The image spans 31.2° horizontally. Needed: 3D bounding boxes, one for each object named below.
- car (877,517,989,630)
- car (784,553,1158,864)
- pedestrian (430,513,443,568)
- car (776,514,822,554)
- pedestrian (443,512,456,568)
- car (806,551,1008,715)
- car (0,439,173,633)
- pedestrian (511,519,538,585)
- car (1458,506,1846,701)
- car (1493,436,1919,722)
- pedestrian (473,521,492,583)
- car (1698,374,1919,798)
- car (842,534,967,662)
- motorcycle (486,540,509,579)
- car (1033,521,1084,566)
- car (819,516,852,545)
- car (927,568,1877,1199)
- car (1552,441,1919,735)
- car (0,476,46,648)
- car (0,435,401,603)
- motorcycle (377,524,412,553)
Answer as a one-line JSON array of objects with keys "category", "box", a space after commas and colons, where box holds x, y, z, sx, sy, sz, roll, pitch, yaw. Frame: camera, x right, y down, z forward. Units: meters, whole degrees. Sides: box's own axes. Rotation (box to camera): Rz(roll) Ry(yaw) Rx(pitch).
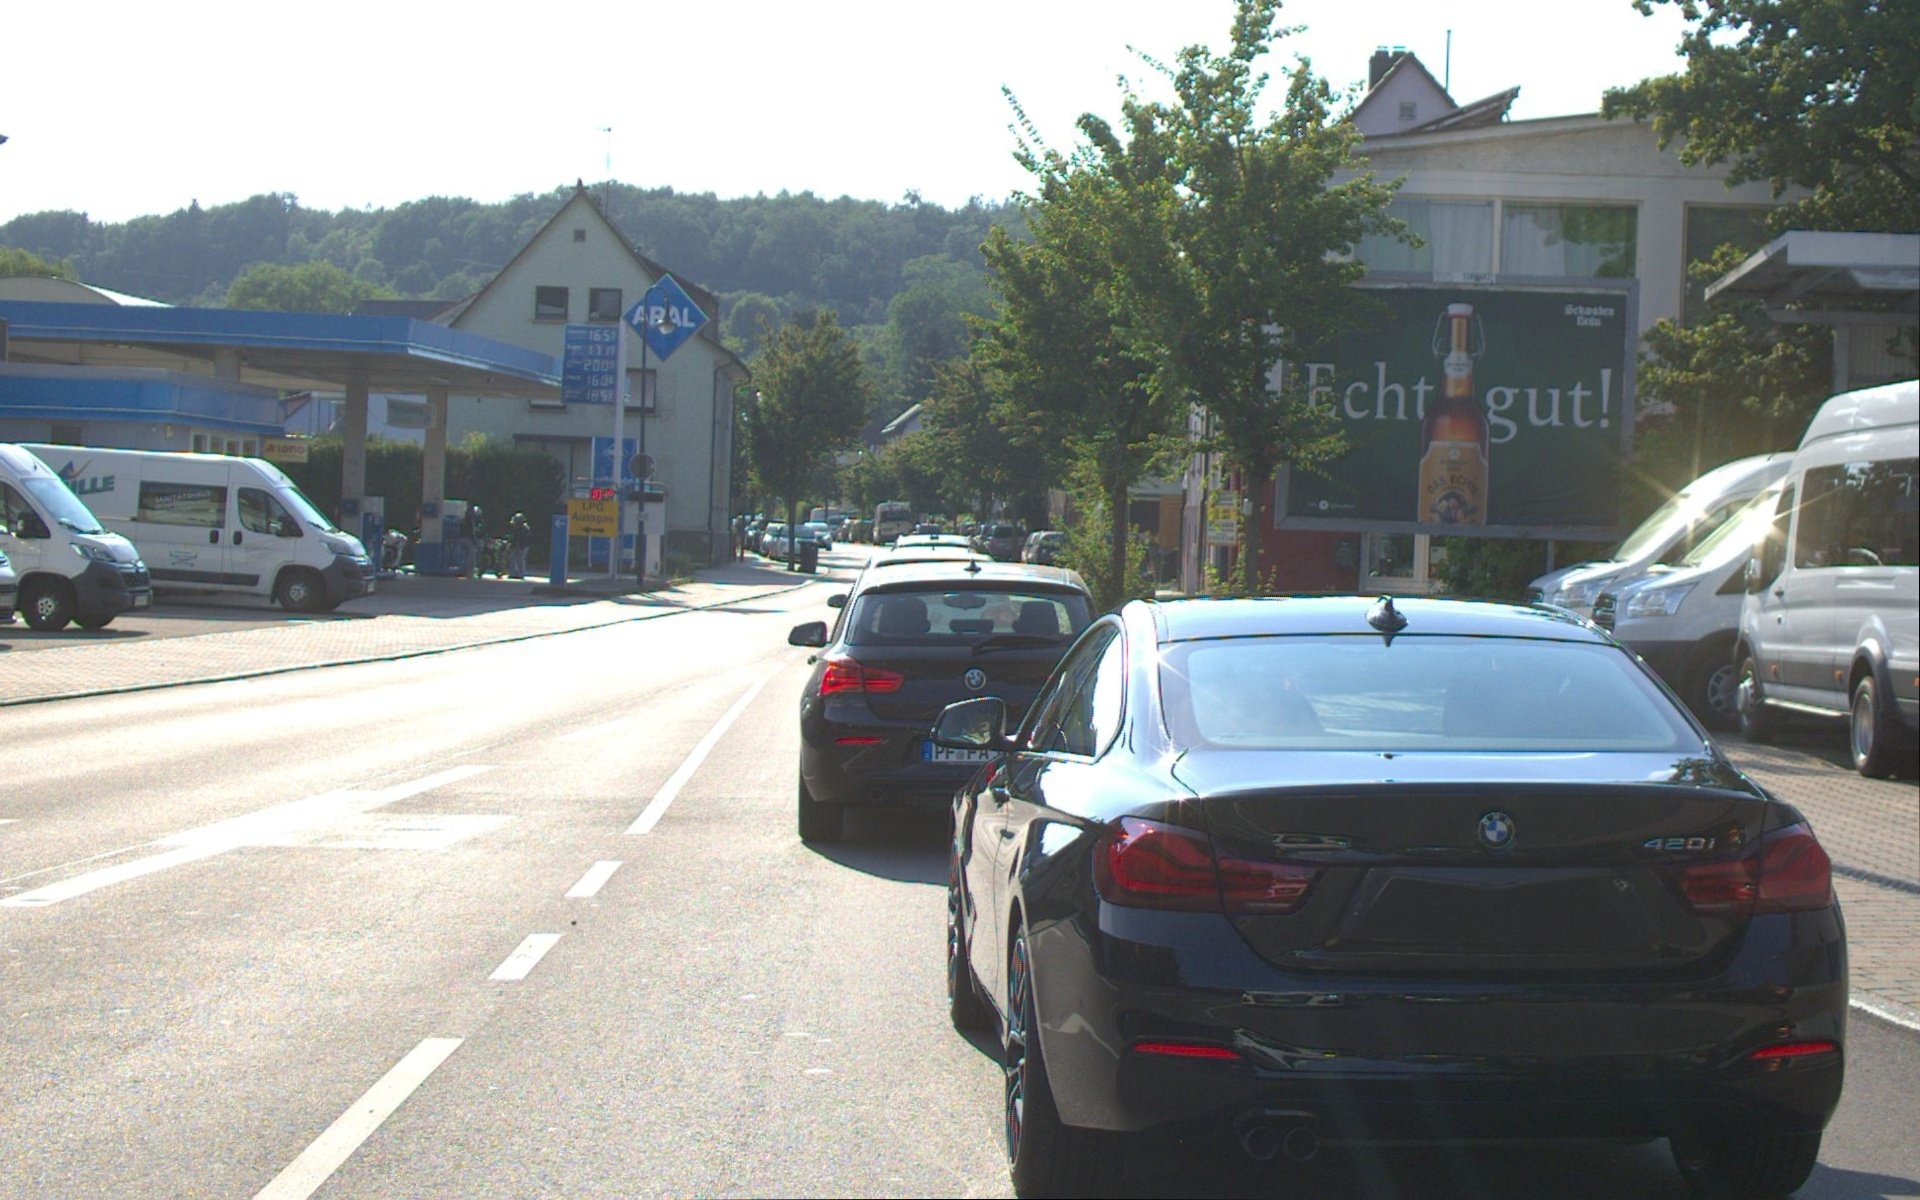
[{"category": "car", "box": [-0.419, -0.466, 56.426, 1.603, 1.761, 3.411, 1, 1, 3]}, {"category": "car", "box": [0.098, 0.500, 18.364, 1.771, 1.451, 3.516, 1, 1, 2]}, {"category": "pedestrian", "box": [-13.014, -1.489, 85.465, 0.287, 1.362, 0.263, 1, 1, -4]}, {"category": "car", "box": [-6.246, -2.578, 133.851, 1.597, 1.480, 3.475, 2, 1, -1]}, {"category": "pedestrian", "box": [-12.801, -1.507, 86.164, 0.262, 1.378, 0.288, 1, 1, -1]}, {"category": "car", "box": [-0.551, 0.276, 32.837, 1.753, 1.409, 3.422, 1, 1, -3]}, {"category": "car", "box": [-13.865, -0.956, 46.239, 5.921, 2.471, 2.193, 2, 2, 5]}, {"category": "pedestrian", "box": [-11.004, -1.218, 86.921, 0.610, 1.664, 0.442, 1, 1, -3]}, {"category": "car", "box": [7.098, 0.016, 35.462, 3.599, 1.887, 1.587, 1, 1, -3]}, {"category": "car", "box": [8.233, -0.184, 32.287, 6.043, 2.507, 2.044, 1, 1, -2]}, {"category": "pedestrian", "box": [-12.091, -1.212, 87.038, 0.407, 1.541, 0.433, 1, 1, -3]}, {"category": "car", "box": [7.097, -0.136, 24.301, 2.149, 2.671, 6.604, 1, 1, -1]}, {"category": "car", "box": [-0.743, -0.063, 46.540, 1.591, 1.594, 3.894, 1, 1, -1]}, {"category": "motorcycle", "box": [-11.654, -1.026, 86.590, 0.363, 0.940, 1.696, 1, 1, -1]}, {"category": "car", "box": [3.459, -2.011, 121.285, 1.597, 1.480, 3.475, 2, 1, -1]}, {"category": "car", "box": [-6.600, -3.690, 181.916, 1.597, 1.480, 3.475, 2, 1, -1]}, {"category": "car", "box": [0.866, 0.648, 8.981, 1.699, 1.364, 4.263, 1, 2, -3]}, {"category": "car", "box": [8.283, -0.083, 29.281, 6.043, 2.355, 2.044, 1, 1, -2]}, {"category": "car", "box": [-13.505, -0.553, 40.276, 4.976, 1.992, 1.935, 2, 1, 3]}, {"category": "car", "box": [-12.419, -1.322, 55.962, 6.159, 2.436, 2.249, 2, 1, 1]}, {"category": "motorcycle", "box": [-14.312, -1.552, 87.056, 0.459, 0.727, 1.473, 2, 1, 7]}]
